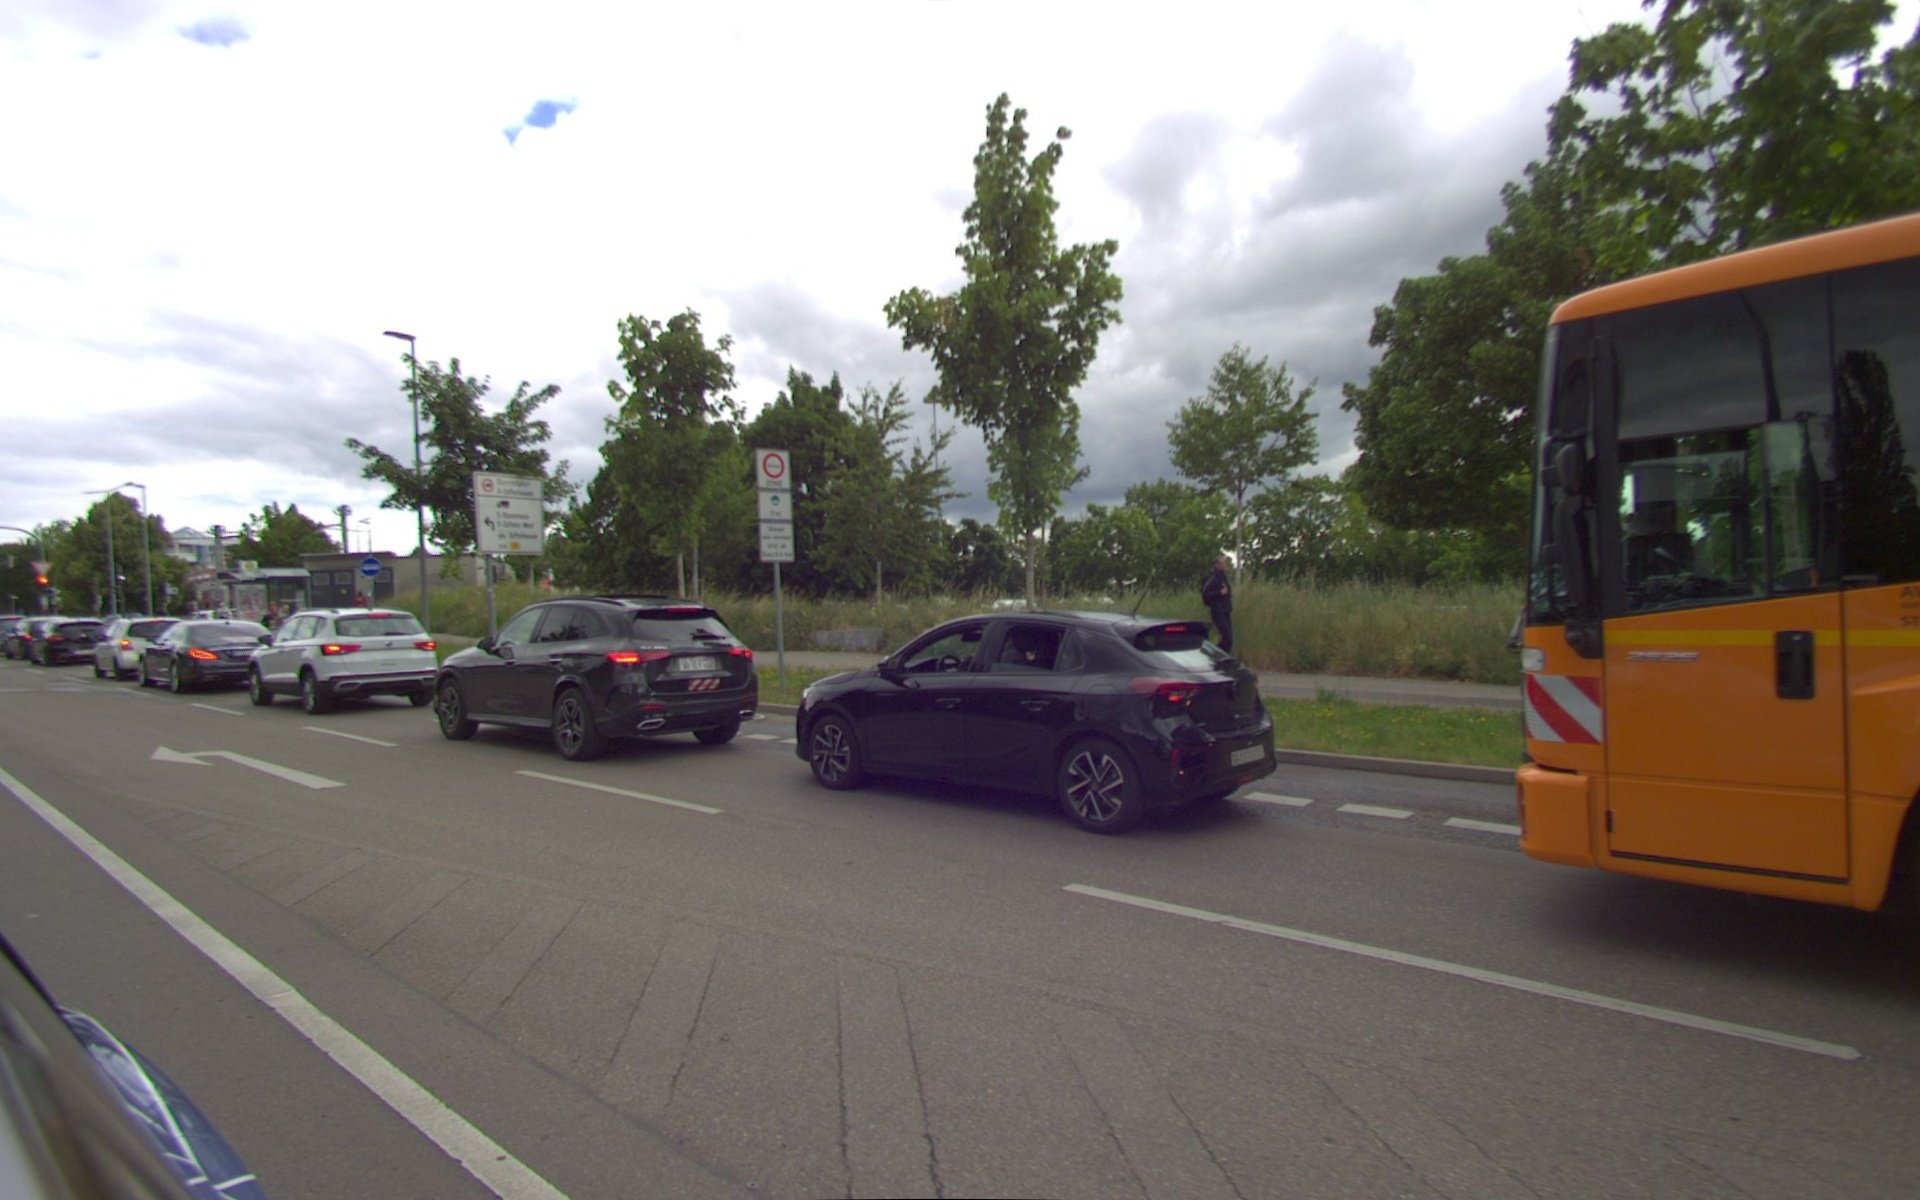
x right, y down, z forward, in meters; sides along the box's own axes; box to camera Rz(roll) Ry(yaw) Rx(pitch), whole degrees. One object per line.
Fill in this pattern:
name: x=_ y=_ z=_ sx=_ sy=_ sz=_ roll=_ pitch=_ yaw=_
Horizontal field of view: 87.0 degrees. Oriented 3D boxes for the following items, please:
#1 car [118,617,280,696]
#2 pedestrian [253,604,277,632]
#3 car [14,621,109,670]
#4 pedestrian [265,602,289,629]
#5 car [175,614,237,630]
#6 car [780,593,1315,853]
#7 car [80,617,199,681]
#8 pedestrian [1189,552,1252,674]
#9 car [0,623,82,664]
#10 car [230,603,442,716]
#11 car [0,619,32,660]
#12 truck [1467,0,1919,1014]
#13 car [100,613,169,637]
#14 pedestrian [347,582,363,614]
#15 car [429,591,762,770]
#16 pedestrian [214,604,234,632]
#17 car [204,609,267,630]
car: x=-15.873 y=1.132 z=21.001 sx=4.881 sy=1.401 sz=1.623 roll=-2 pitch=0 yaw=40
pedestrian: x=-33.845 y=0.877 z=49.319 sx=0.549 sy=1.340 sz=0.766 roll=-2 pitch=0 yaw=32
car: x=-28.032 y=1.398 z=31.533 sx=4.057 sy=1.342 sz=1.623 roll=-2 pitch=0 yaw=40
pedestrian: x=-32.809 y=0.754 z=48.644 sx=0.549 sy=1.236 sz=0.766 roll=-2 pitch=0 yaw=32
car: x=-69.051 y=2.043 z=92.741 sx=1.805 sy=1.351 sz=4.183 roll=-2 pitch=-3 yaw=27
car: x=0.473 y=0.758 z=7.635 sx=3.892 sy=1.468 sz=1.419 roll=-2 pitch=0 yaw=40
car: x=-20.500 y=1.196 z=25.234 sx=3.759 sy=1.401 sz=1.623 roll=-2 pitch=0 yaw=40
pedestrian: x=4.098 y=0.200 z=15.905 sx=0.677 sy=1.849 sz=0.713 roll=-2 pitch=0 yaw=41
car: x=-33.143 y=1.545 z=36.271 sx=4.375 sy=1.342 sz=1.782 roll=-2 pitch=0 yaw=39
car: x=-10.337 y=0.919 z=16.632 sx=4.220 sy=1.597 sz=1.713 roll=-2 pitch=0 yaw=40
car: x=-37.519 y=1.544 z=39.523 sx=2.771 sy=1.538 sz=1.415 roll=-2 pitch=0 yaw=38
truck: x=6.849 y=-0.475 z=2.050 sx=9.989 sy=3.513 sz=2.678 roll=-2 pitch=0 yaw=41
car: x=-70.442 y=2.141 z=86.389 sx=1.809 sy=1.793 sz=4.177 roll=-2 pitch=0 yaw=32
pedestrian: x=-32.629 y=-0.097 z=54.577 sx=0.541 sy=1.682 sz=0.430 roll=-3 pitch=0 yaw=-14
car: x=-4.130 y=0.784 z=11.154 sx=4.057 sy=1.597 sz=1.623 roll=-2 pitch=0 yaw=40
pedestrian: x=-37.183 y=0.927 z=51.114 sx=0.772 sy=1.374 sz=0.545 roll=-2 pitch=0 yaw=33
car: x=-69.680 y=1.935 z=97.409 sx=2.173 sy=1.920 sz=4.415 roll=-2 pitch=-3 yaw=25
